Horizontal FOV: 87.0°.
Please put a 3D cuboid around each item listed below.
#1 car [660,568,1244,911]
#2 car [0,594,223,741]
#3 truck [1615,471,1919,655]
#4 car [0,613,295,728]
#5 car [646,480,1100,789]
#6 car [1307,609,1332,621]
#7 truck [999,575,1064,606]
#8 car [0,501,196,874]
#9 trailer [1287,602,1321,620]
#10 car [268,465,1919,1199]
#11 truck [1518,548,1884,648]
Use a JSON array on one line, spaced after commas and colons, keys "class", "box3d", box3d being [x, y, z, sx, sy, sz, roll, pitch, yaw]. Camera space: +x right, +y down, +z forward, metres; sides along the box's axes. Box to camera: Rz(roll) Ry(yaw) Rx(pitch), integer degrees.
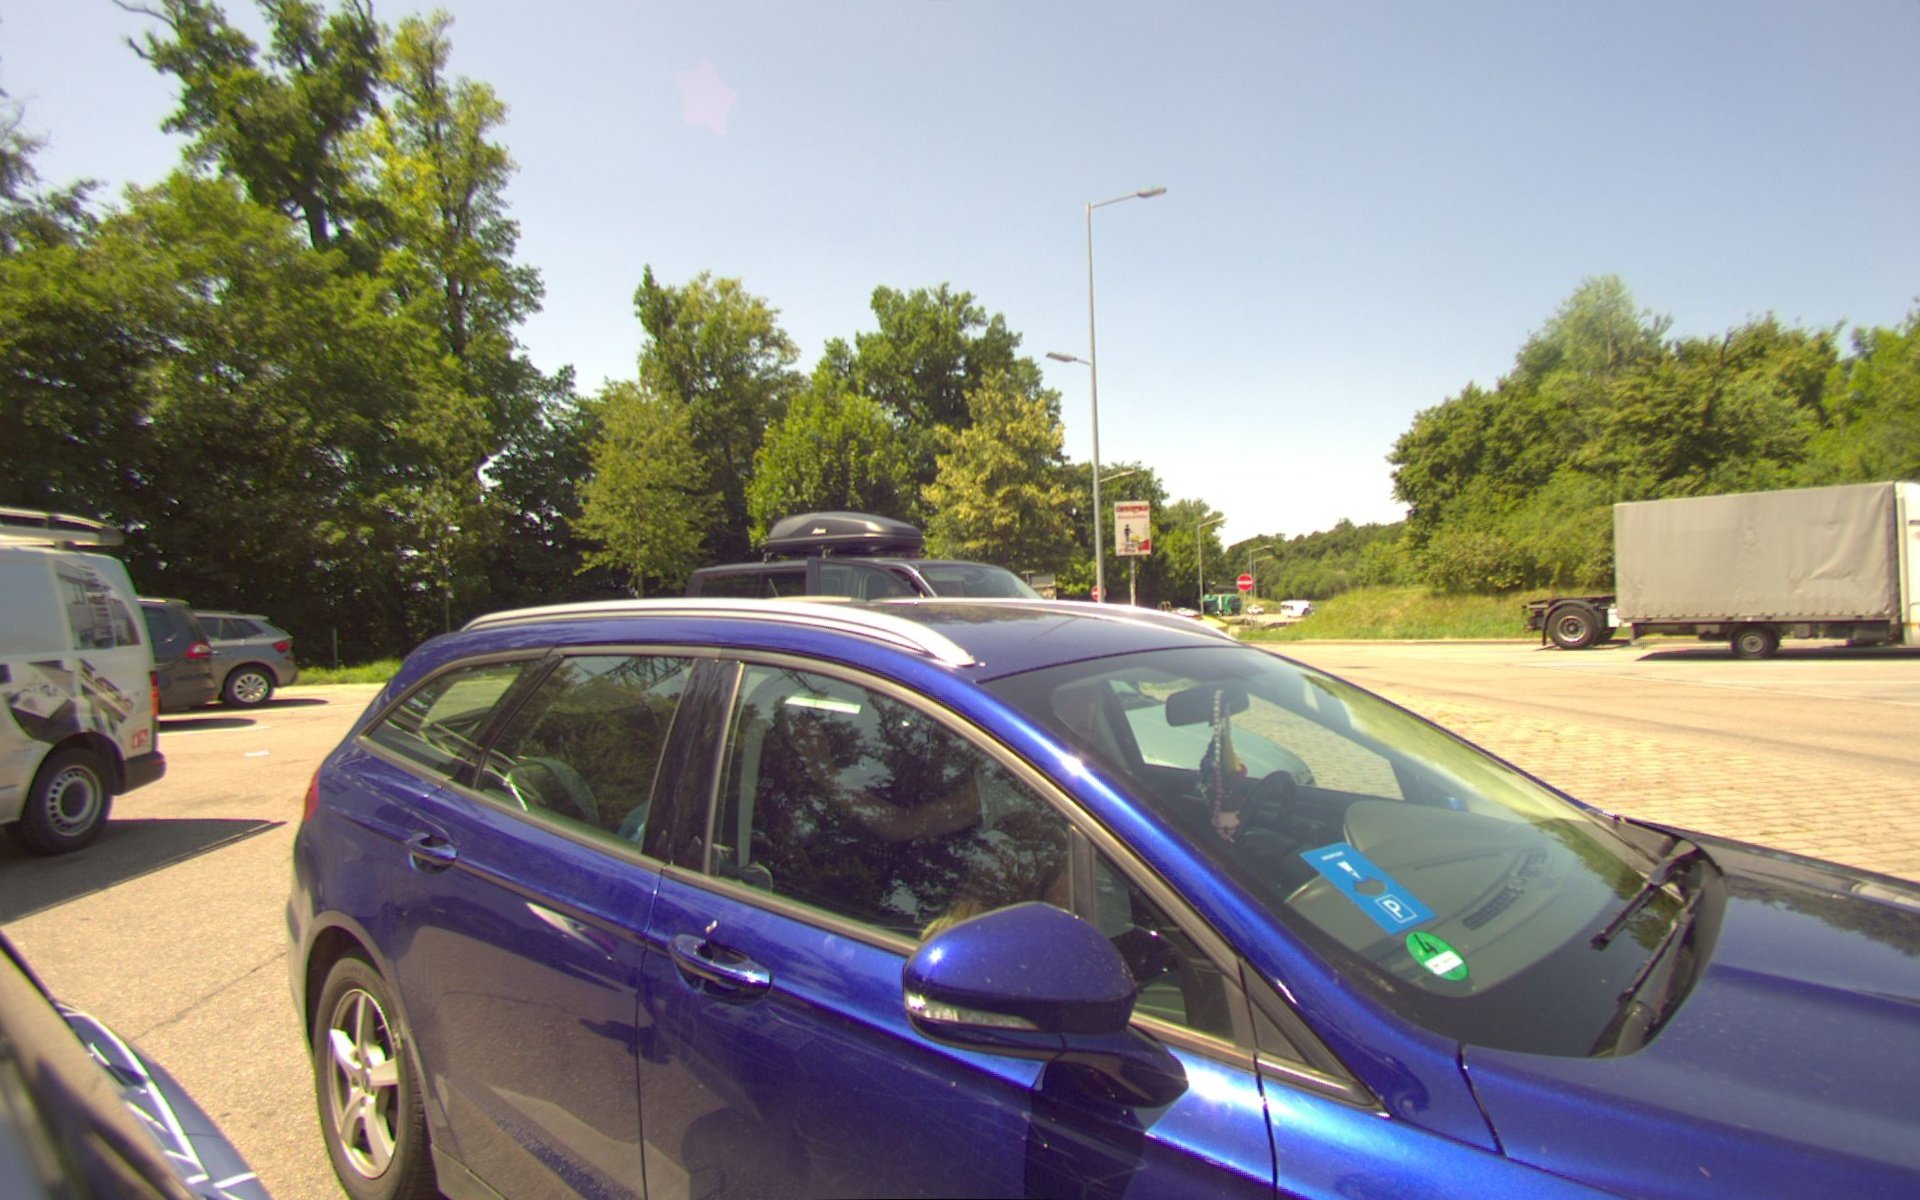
[{"class": "car", "box3d": [-0.199, 0.595, 5.581, 3.112, 1.370, 1.326, -2, -1, 41]}, {"class": "car", "box3d": [-11.636, 0.802, 12.566, 1.755, 1.701, 3.798, -2, -1, 45]}, {"class": "truck", "box3d": [16.657, -0.618, 18.774, 7.253, 3.175, 2.148, -2, -1, 41]}, {"class": "car", "box3d": [-12.560, 0.998, 15.698, 3.535, 1.513, 1.708, -1, 0, -42]}, {"class": "car", "box3d": [-0.928, 0.324, 9.570, 4.076, 2.336, 1.767, -2, -1, 35]}, {"class": "car", "box3d": [53.111, 2.193, 149.500, 1.855, 1.691, 4.006, -1, 0, -7]}, {"class": "truck", "box3d": [3.442, -0.449, 48.766, 2.866, 1.386, 1.158, -2, -1, 22]}, {"class": "car", "box3d": [-6.261, 0.480, 4.619, 1.816, 2.121, 5.440, 0, -1, -5]}, {"class": "trailer", "box3d": [52.506, 1.667, 154.482, 2.522, 2.744, 5.945, -1, 0, -7]}, {"class": "car", "box3d": [0.229, 0.656, 2.112, 4.411, 1.429, 1.721, -2, -1, 41]}, {"class": "truck", "box3d": [16.919, 0.056, 23.520, 6.613, 2.029, 1.973, -2, -1, 41]}]
